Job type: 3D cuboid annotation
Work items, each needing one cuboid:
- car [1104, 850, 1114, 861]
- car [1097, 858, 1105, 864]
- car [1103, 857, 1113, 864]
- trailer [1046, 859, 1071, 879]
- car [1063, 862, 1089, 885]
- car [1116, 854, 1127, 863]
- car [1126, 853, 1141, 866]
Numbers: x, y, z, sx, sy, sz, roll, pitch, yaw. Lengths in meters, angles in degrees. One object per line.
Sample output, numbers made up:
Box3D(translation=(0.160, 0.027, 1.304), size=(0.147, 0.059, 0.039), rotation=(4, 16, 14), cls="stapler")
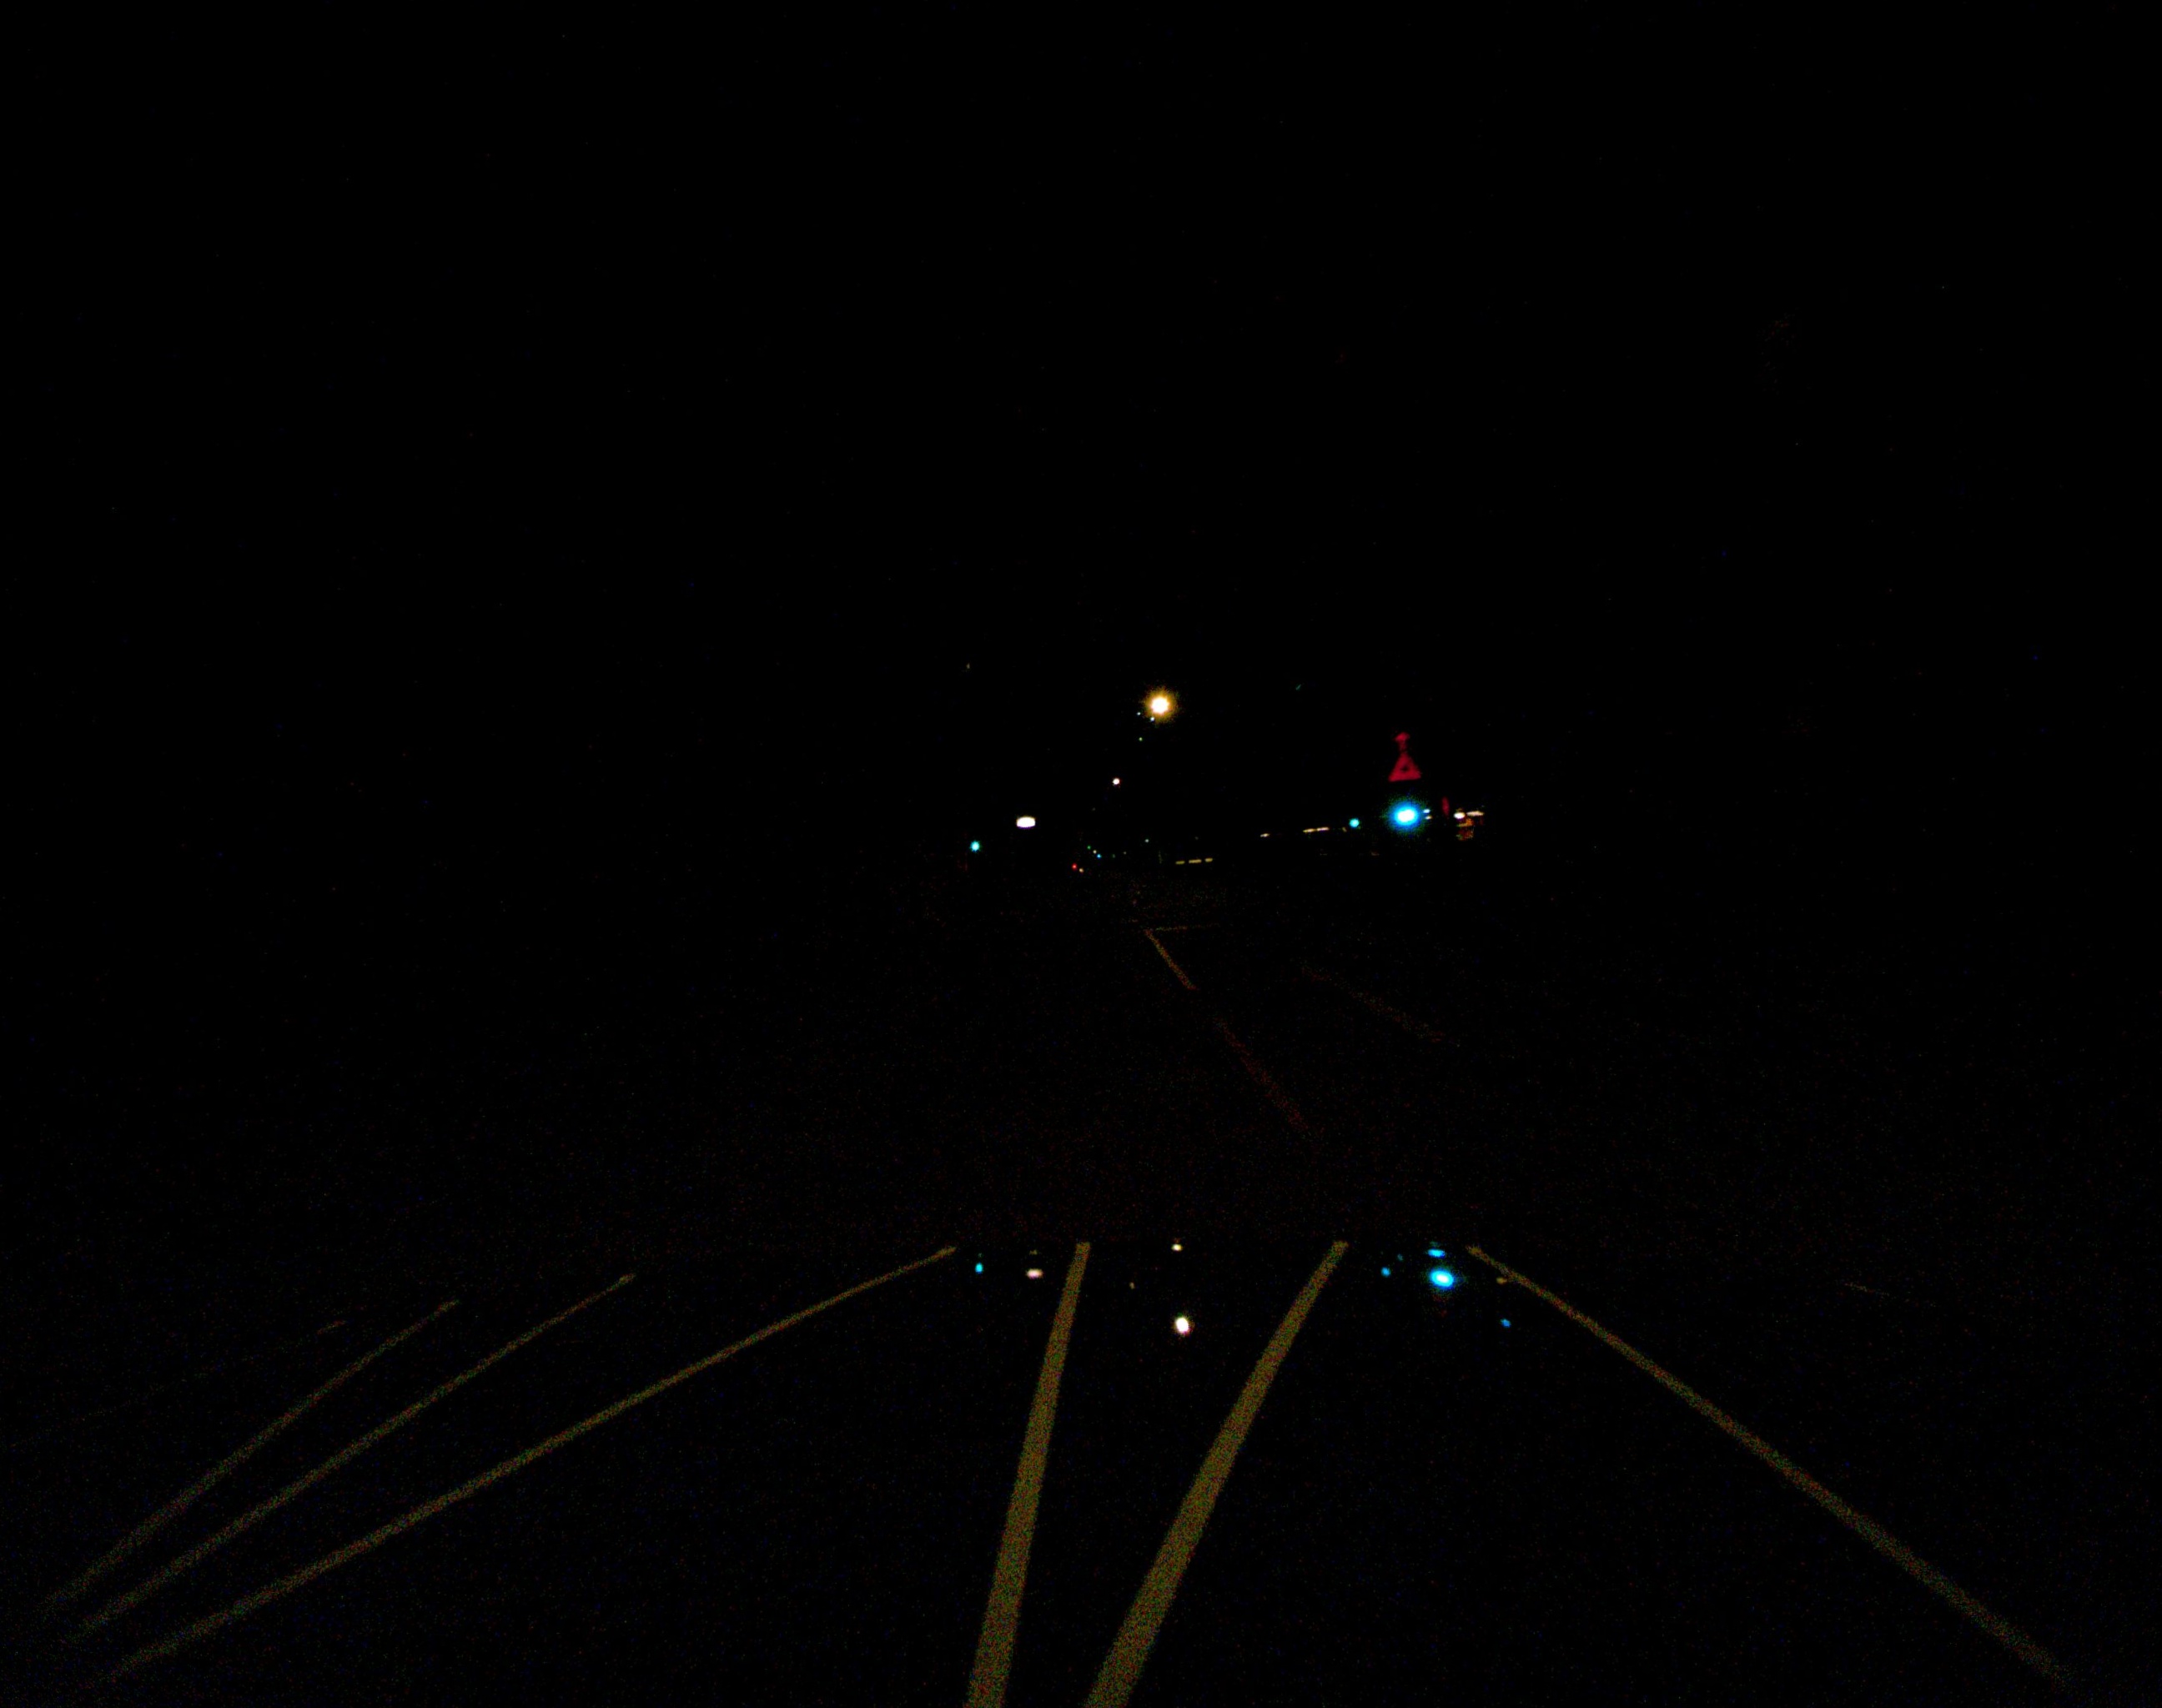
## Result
Box3D(translation=(6.783, 0.428, 185.371), size=(2.005, 2.493, 4.954), rotation=(-6, 0, -2), cls="car")
Box3D(translation=(5.630, 1.951, 213.834), size=(1.826, 1.423, 3.731), rotation=(-6, 0, -2), cls="car")
Box3D(translation=(6.222, 1.457, 173.882), size=(1.826, 1.423, 3.731), rotation=(-6, 0, -2), cls="car")
Box3D(translation=(-1.835, 1.221, 62.966), size=(1.604, 1.486, 3.735), rotation=(-4, 0, 4), cls="trailer")
Box3D(translation=(-0.313, 1.348, 53.998), size=(1.590, 1.452, 3.797), rotation=(-4, 0, 2), cls="car")
Box3D(translation=(7.486, 0.791, 140.565), size=(1.826, 1.637, 3.731), rotation=(-2, 0, 1), cls="car")
Box3D(translation=(7.722, 0.826, 112.517), size=(1.882, 1.798, 3.731), rotation=(-6, 0, 1), cls="car")
